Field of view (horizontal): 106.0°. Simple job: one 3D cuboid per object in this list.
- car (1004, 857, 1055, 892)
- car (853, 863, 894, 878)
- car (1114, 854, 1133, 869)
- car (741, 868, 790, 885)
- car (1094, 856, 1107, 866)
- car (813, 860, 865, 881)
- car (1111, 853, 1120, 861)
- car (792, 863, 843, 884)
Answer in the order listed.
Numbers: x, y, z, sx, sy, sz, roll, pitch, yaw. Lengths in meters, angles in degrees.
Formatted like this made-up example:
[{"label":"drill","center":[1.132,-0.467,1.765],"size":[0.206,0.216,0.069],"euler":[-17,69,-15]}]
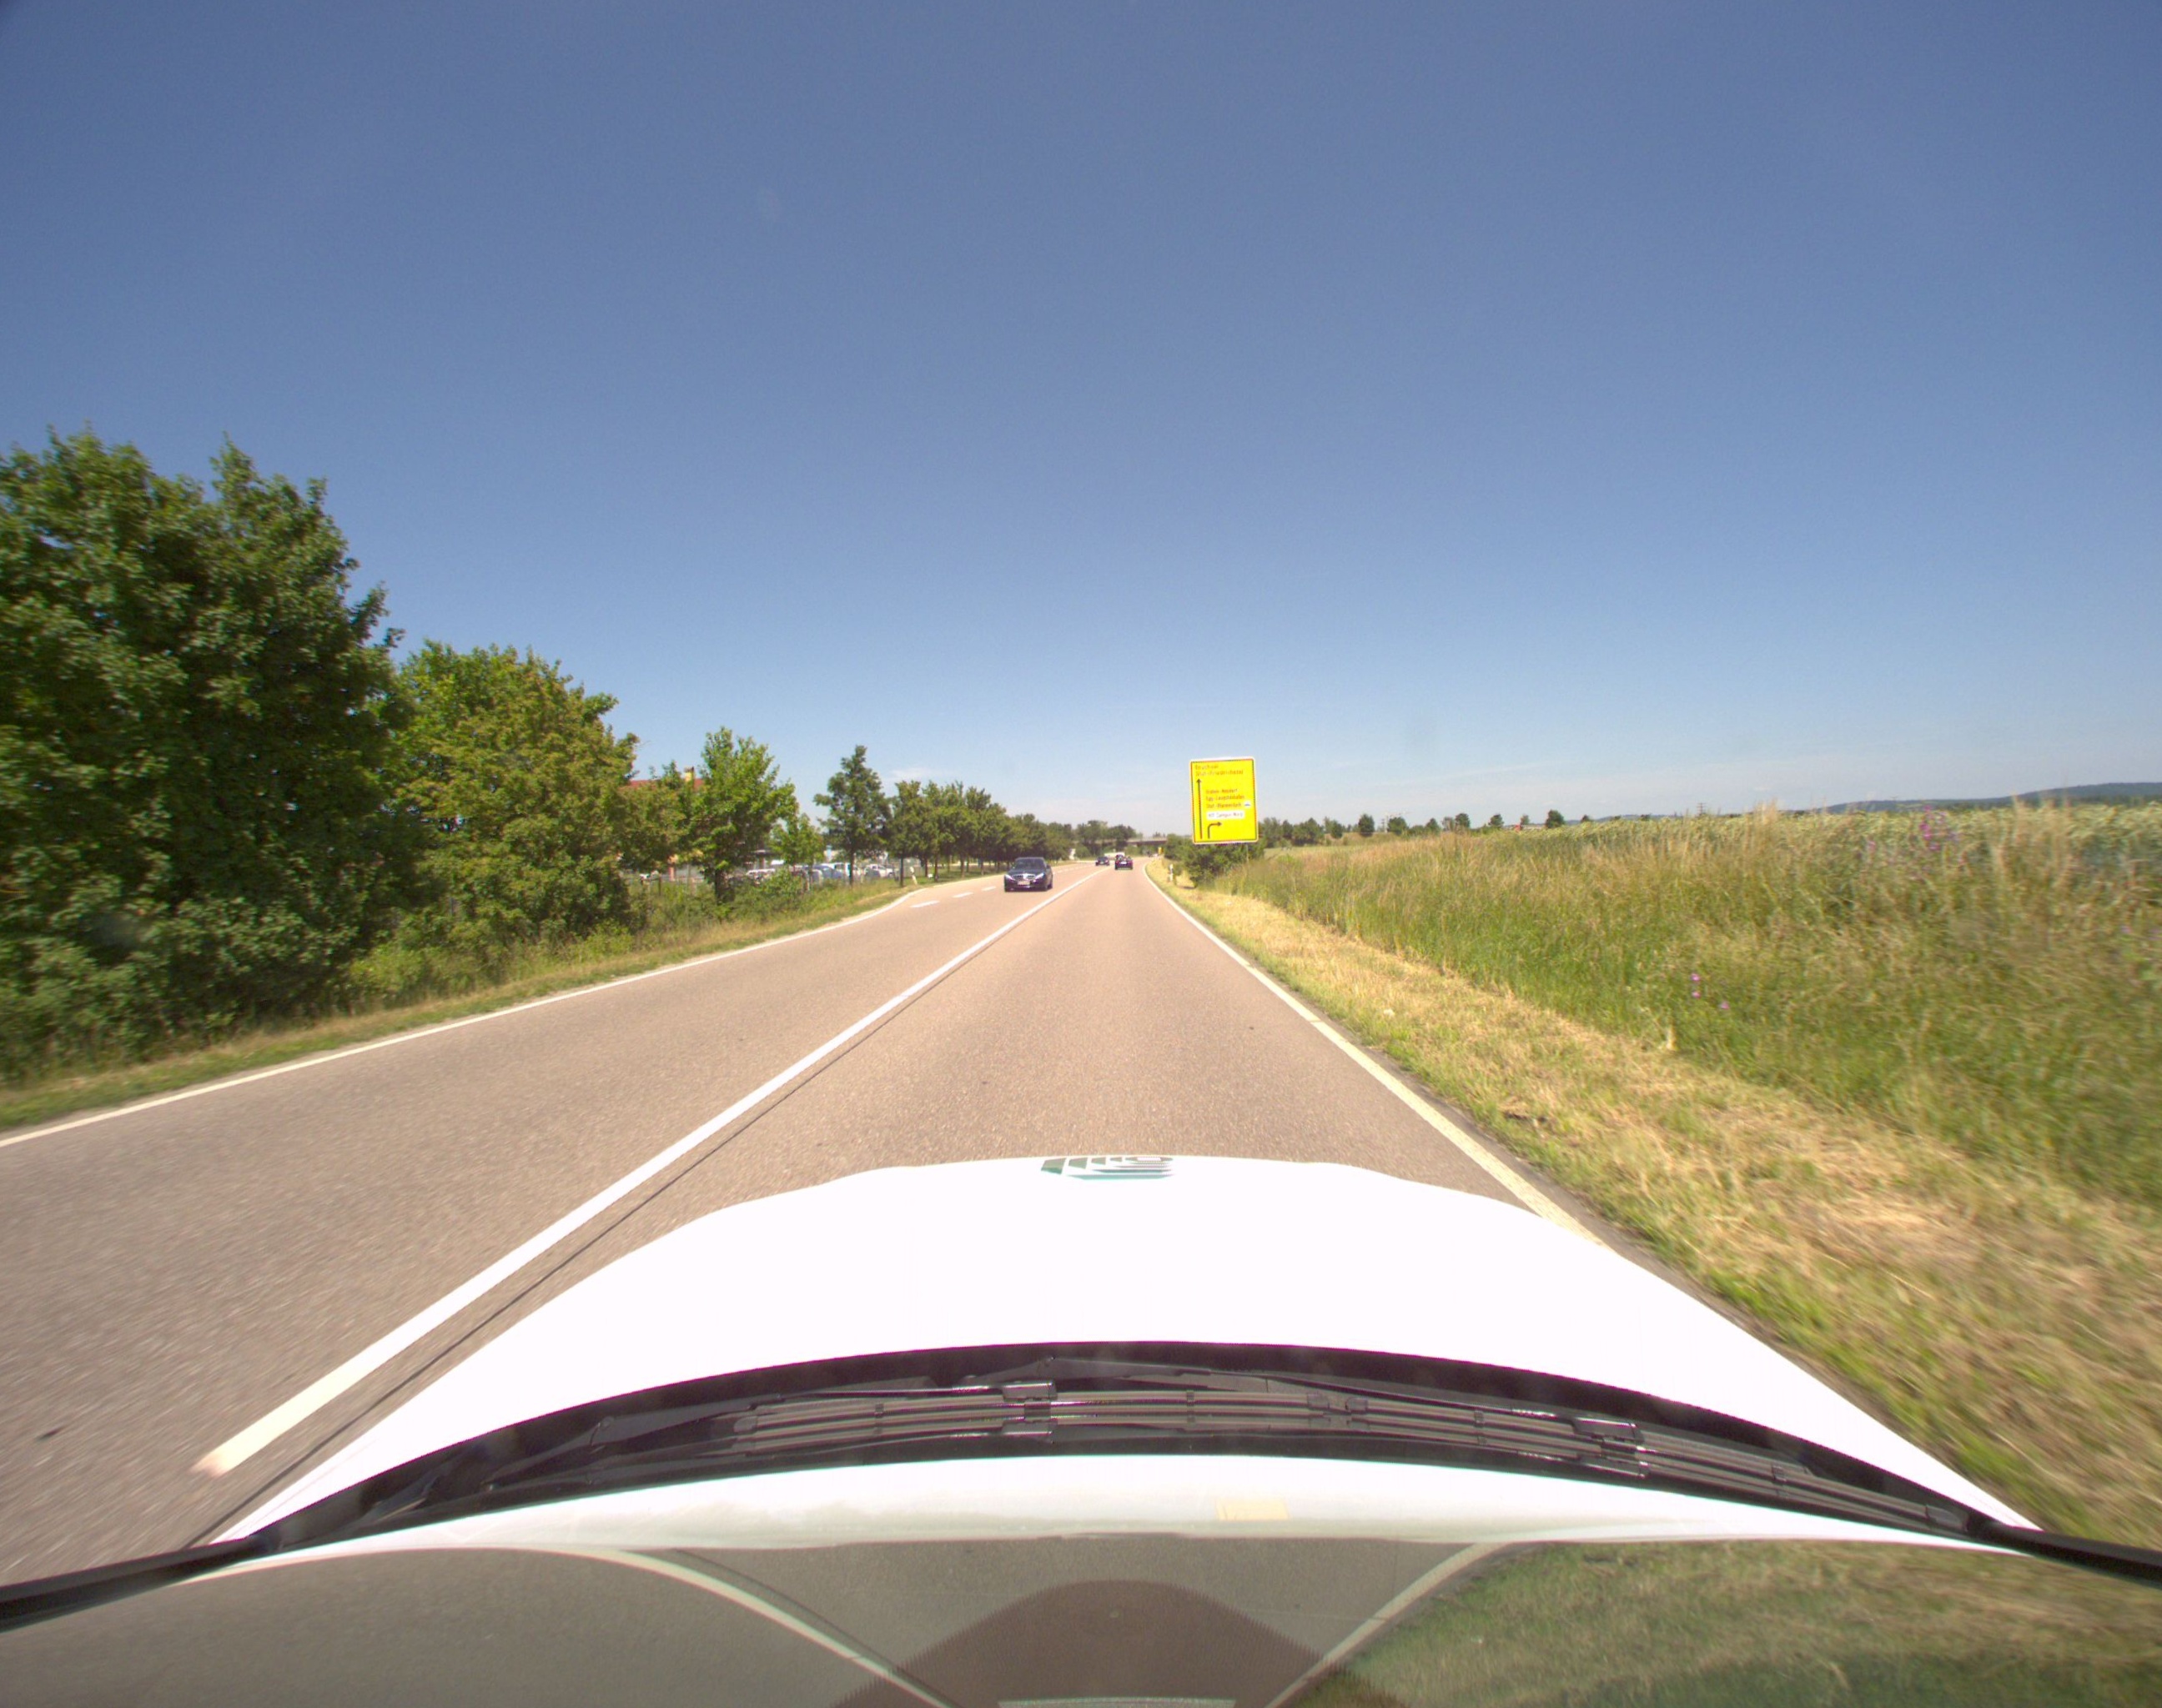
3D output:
[{"label":"car","center":[-2.197,0.857,36.029],"size":[1.774,1.420,4.536],"euler":[-1,0,2]},{"label":"car","center":[-23.026,1.825,90.482],"size":[4.011,1.480,1.655],"euler":[-1,0,-35]},{"label":"car","center":[4.213,0.734,81.297],"size":[1.808,1.441,4.001],"euler":[-1,0,1]},{"label":"car","center":[-28.339,2.052,73.219],"size":[3.674,1.409,1.642],"euler":[-1,0,-1]},{"label":"car","center":[2.624,0.898,107.184],"size":[1.629,1.268,3.813],"euler":[-1,0,2]},{"label":"car","center":[-24.194,1.626,81.514],"size":[4.677,1.954,1.810],"euler":[-1,0,-29]},{"label":"car","center":[6.765,0.600,159.636],"size":[1.672,1.499,3.890],"euler":[-1,0,4]},{"label":"car","center":[-24.053,1.731,74.282],"size":[4.306,1.801,2.011],"euler":[-1,0,-21]}]
